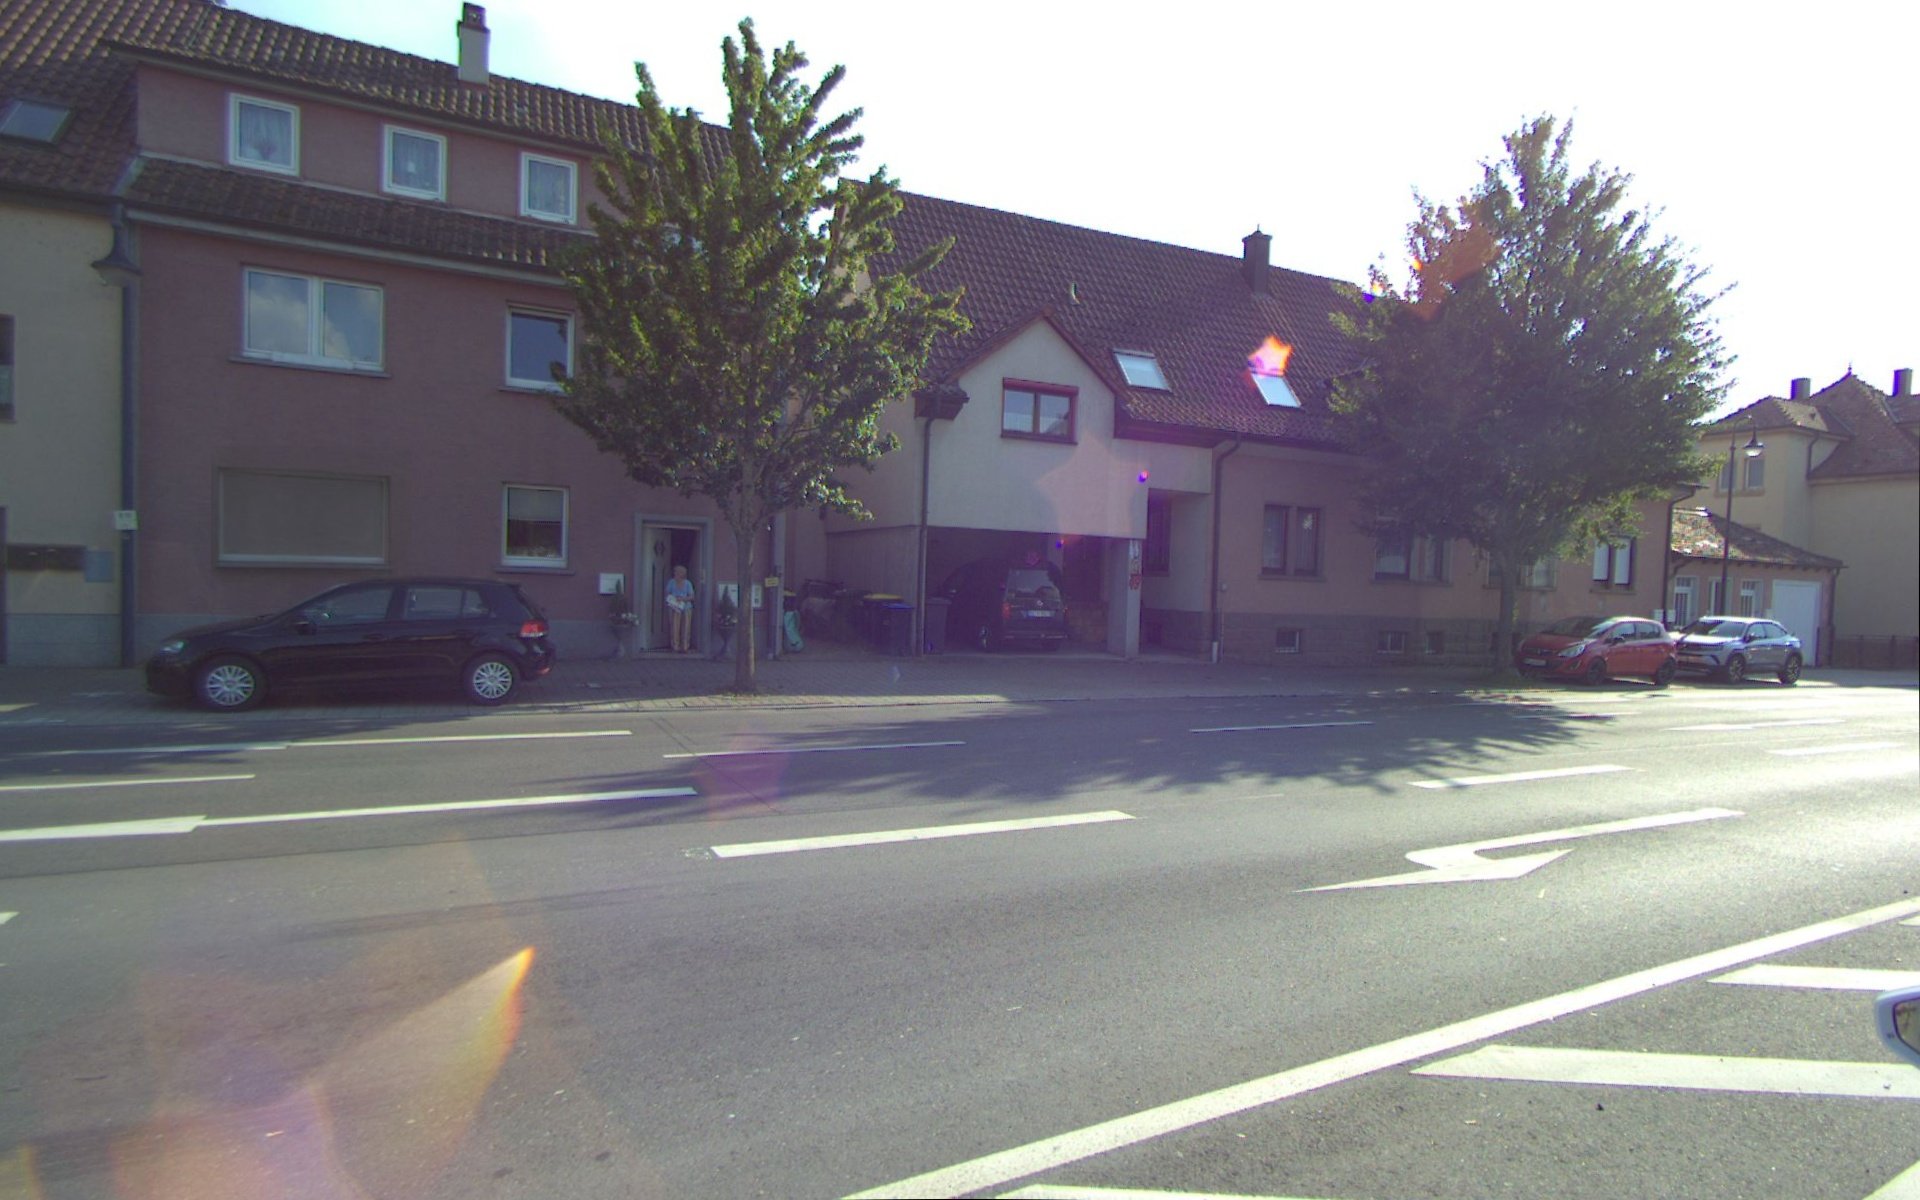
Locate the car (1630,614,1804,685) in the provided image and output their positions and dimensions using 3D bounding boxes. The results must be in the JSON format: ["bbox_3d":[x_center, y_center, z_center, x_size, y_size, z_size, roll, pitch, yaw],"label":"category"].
[{"bbox_3d":[18.720,1.190,24.836,3.946,1.499,1.750,1,4,-26],"label":"car"}]

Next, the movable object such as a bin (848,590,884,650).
[{"bbox_3d":[-1.846,0.384,19.654,0.534,1.152,0.507,1,1,-29],"label":"movable object such as a bin"}]

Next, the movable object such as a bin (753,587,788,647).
[{"bbox_3d":[-3.728,0.333,19.762,0.539,1.158,0.502,1,1,-26],"label":"movable object such as a bin"}]

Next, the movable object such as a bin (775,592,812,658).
[{"bbox_3d":[-3.025,0.449,18.219,0.523,1.158,0.549,1,1,-26],"label":"movable object such as a bin"}]

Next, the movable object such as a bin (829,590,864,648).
[{"bbox_3d":[-2.335,0.384,20.624,0.534,1.152,0.507,1,1,-29],"label":"movable object such as a bin"}]

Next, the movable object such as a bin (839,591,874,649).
[{"bbox_3d":[-2.087,0.393,20.165,0.534,1.152,0.507,1,1,-29],"label":"movable object such as a bin"}]

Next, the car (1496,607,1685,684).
[{"bbox_3d":[14.261,1.024,22.715,3.945,1.507,1.661,2,3,-25],"label":"car"}]

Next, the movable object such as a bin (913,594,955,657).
[{"bbox_3d":[-0.500,0.477,19.164,0.570,1.158,0.562,1,1,-34],"label":"movable object such as a bin"}]

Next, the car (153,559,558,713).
[{"bbox_3d":[-6.913,0.387,11.929,3.851,1.553,1.660,1,3,-26],"label":"car"}]

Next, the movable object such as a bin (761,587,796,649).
[{"bbox_3d":[-3.489,0.345,19.275,0.539,1.158,0.502,1,1,-26],"label":"movable object such as a bin"}]

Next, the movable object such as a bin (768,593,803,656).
[{"bbox_3d":[-3.255,0.447,18.716,0.523,1.158,0.502,1,1,-26],"label":"movable object such as a bin"}]

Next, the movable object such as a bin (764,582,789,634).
[{"bbox_3d":[-4.203,0.184,22.986,0.439,1.158,0.399,1,1,-30],"label":"movable object such as a bin"}]

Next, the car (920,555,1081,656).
[{"bbox_3d":[0.766,0.055,21.521,1.756,1.906,3.806,2,2,-27],"label":"car"}]

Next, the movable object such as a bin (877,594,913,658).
[{"bbox_3d":[-1.196,0.475,18.590,0.494,1.152,0.473,1,1,-29],"label":"movable object such as a bin"}]

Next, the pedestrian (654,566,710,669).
[{"bbox_3d":[-4.588,0.283,16.606,0.764,1.628,0.721,3,1,-11],"label":"pedestrian"}]

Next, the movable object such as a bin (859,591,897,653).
[{"bbox_3d":[-1.554,0.415,19.061,0.534,1.152,0.507,1,1,-29],"label":"movable object such as a bin"}]
